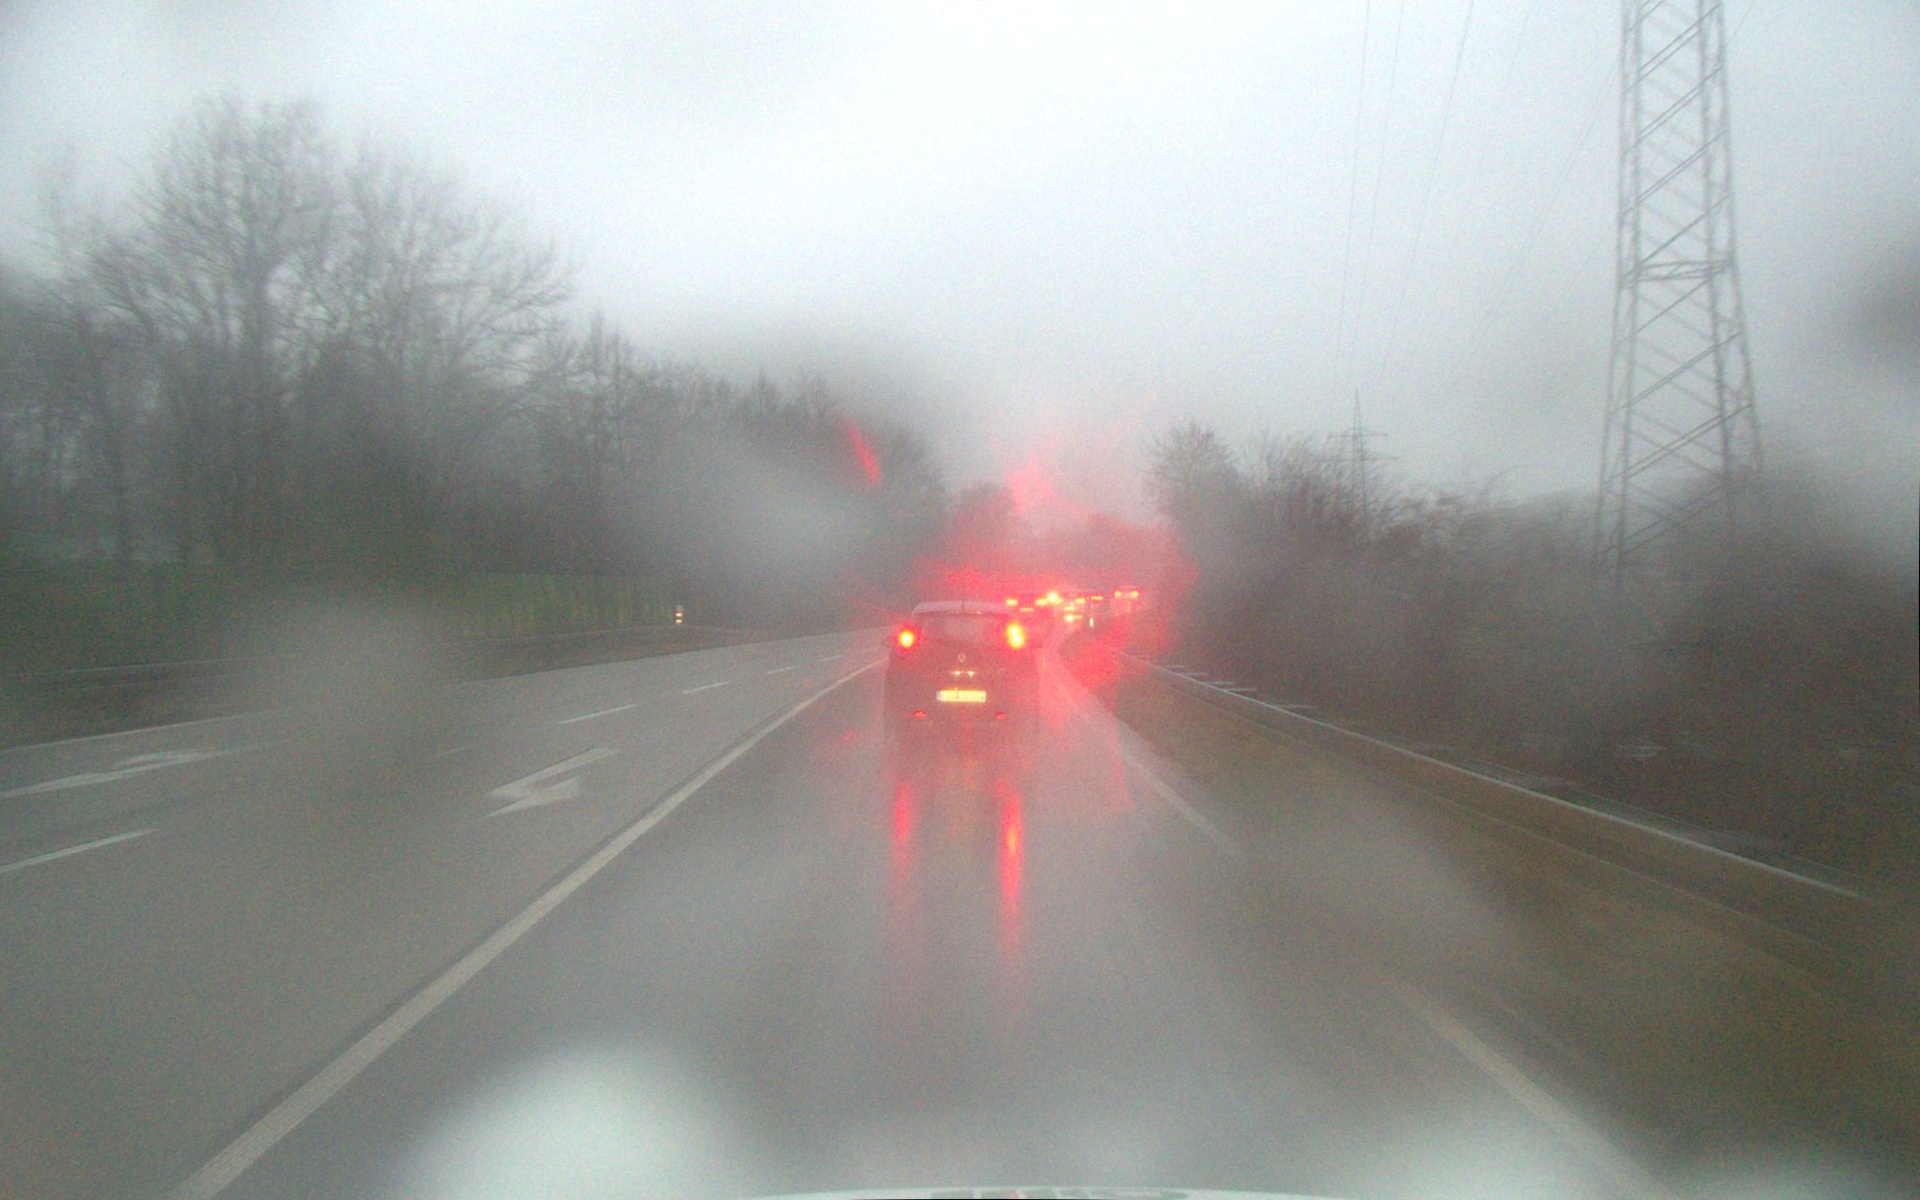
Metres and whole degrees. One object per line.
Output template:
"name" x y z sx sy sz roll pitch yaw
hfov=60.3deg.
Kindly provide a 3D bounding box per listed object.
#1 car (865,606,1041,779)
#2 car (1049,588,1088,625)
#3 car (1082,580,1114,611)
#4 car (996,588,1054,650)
"car" -0.079 0.945 18.777 1.695 1.559 4.042 -4 1 0
"car" 5.655 0.314 85.682 1.905 1.775 4.004 0 2 5
"car" 8.475 -0.294 101.091 1.905 1.775 4.004 0 2 5
"car" 2.424 0.745 62.226 1.906 2.048 4.000 -6 -2 1
